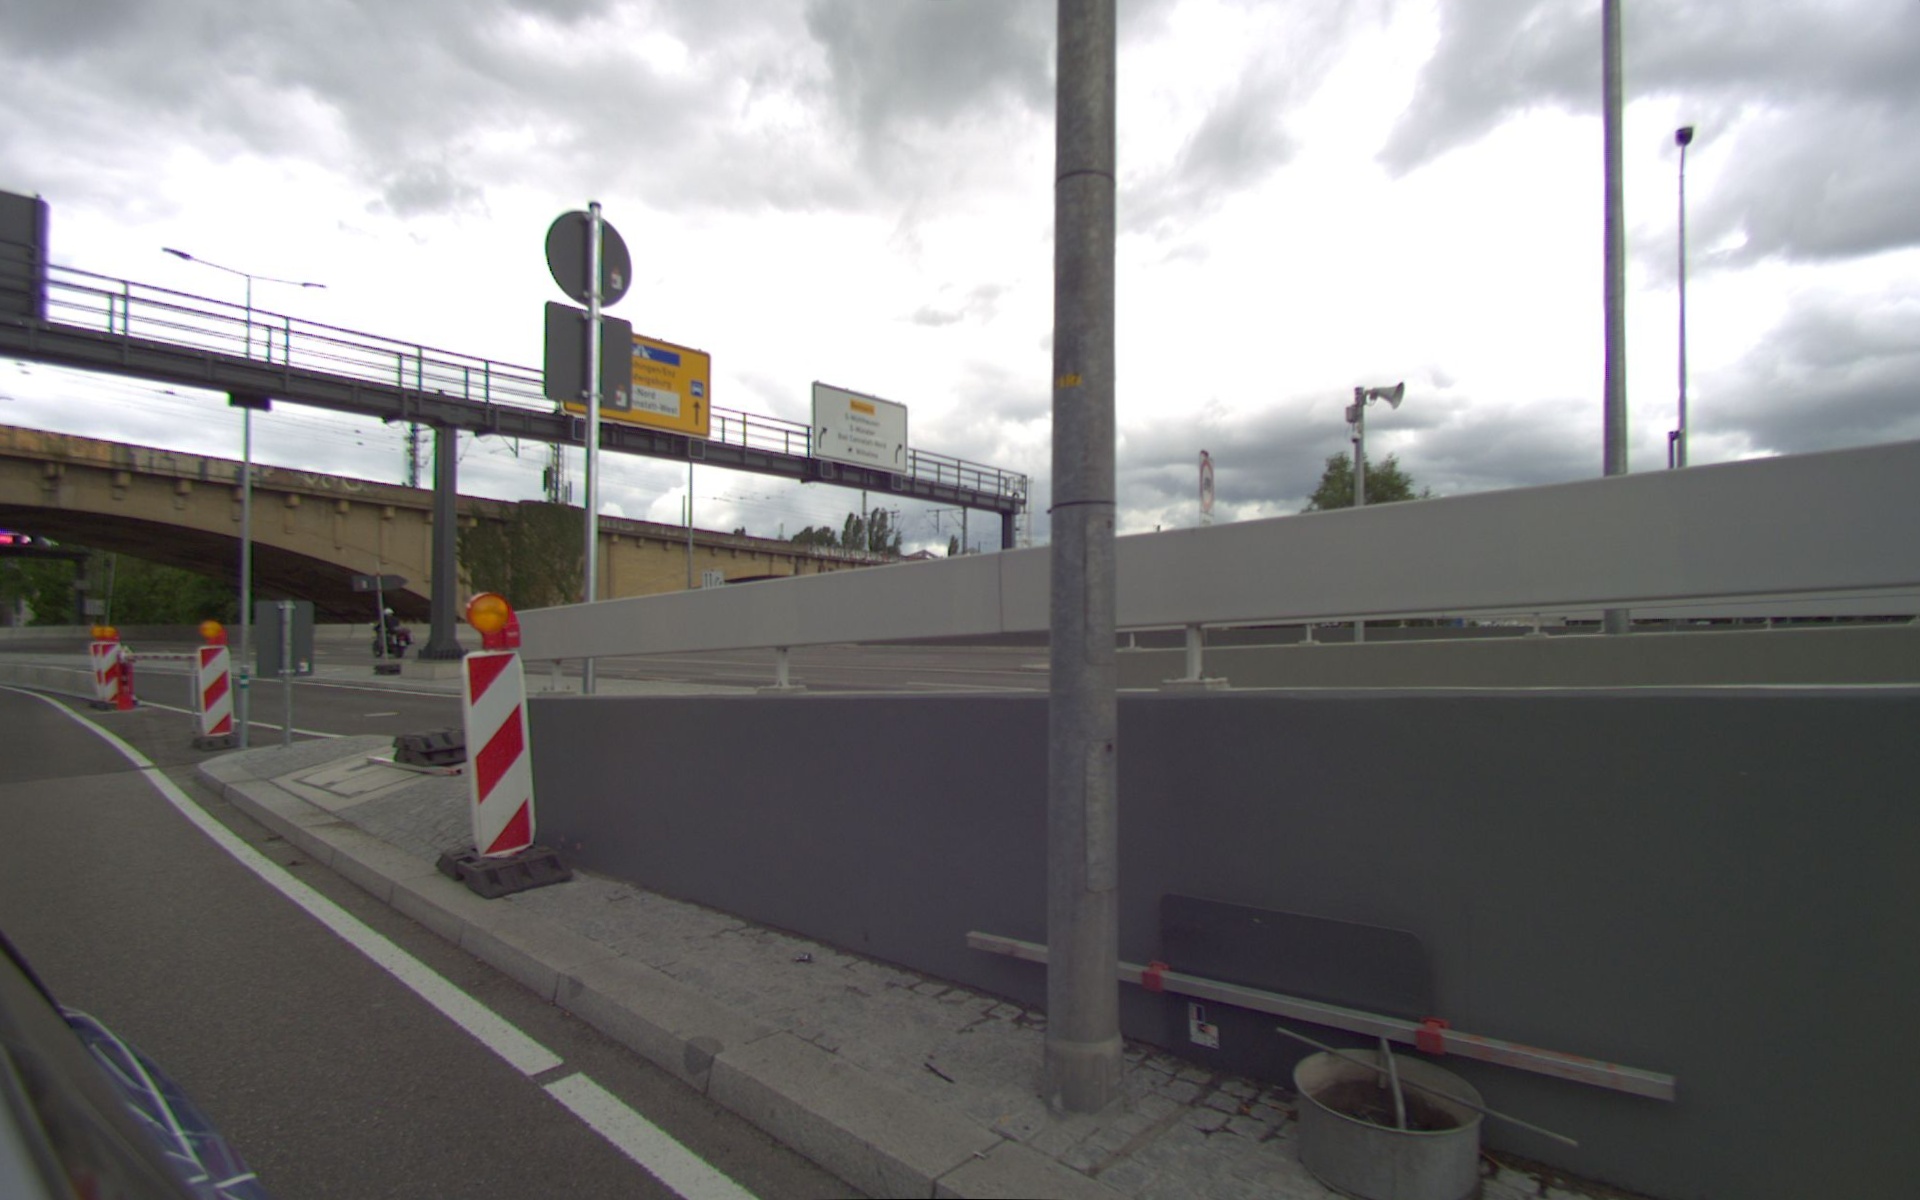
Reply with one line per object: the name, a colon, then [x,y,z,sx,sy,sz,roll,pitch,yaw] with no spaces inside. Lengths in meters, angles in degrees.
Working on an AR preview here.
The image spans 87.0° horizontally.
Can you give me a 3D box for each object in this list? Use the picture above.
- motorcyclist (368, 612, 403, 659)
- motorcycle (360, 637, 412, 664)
motorcyclist: [-20.138,1.255,35.468,1.101,1.618,0.659,-3,-1,36]
motorcycle: [-20.126,1.776,35.465,2.390,0.924,0.659,-3,-1,37]
